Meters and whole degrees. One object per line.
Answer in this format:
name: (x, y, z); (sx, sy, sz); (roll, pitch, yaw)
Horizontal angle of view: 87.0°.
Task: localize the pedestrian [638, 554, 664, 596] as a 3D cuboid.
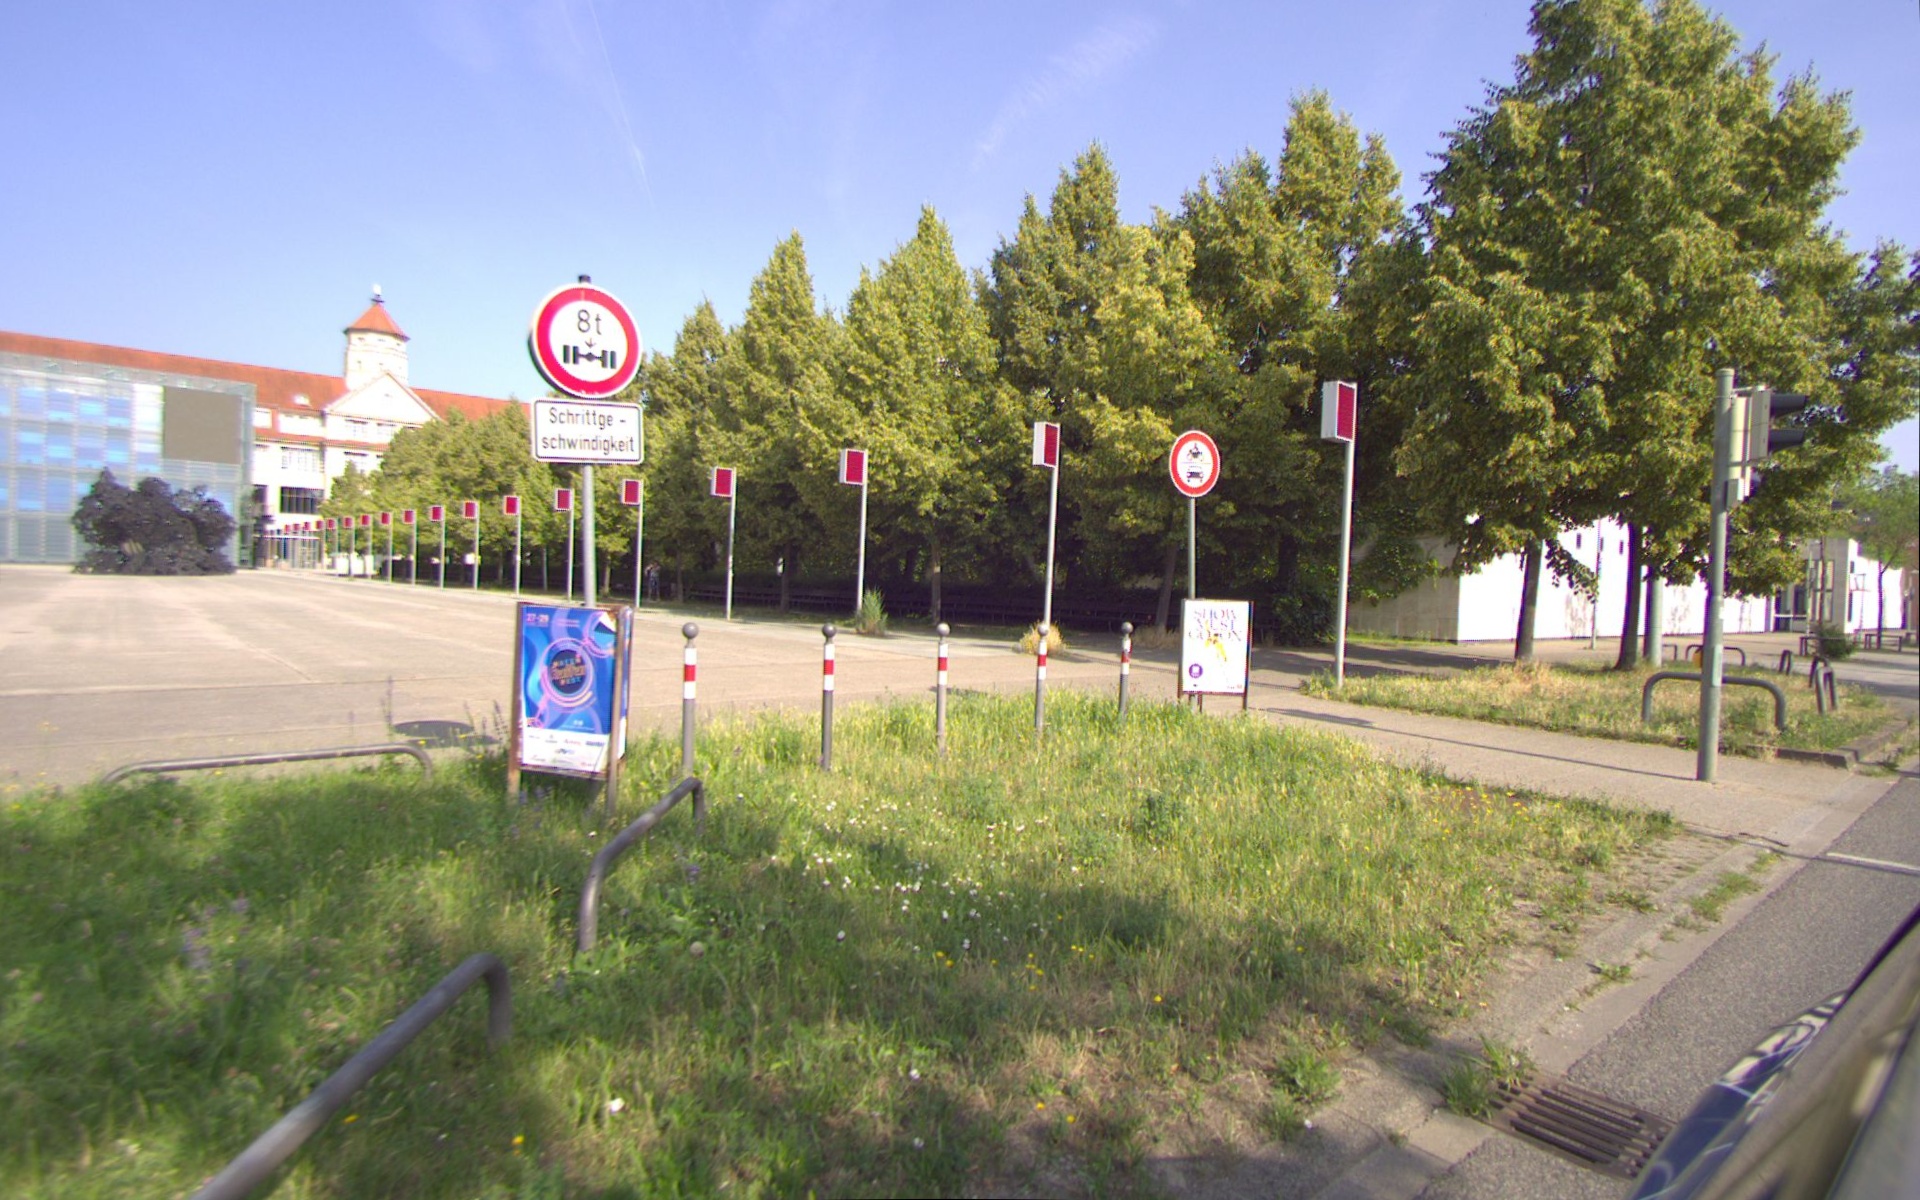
pedestrian: (-13.602, -1.100, 44.583); (0.795, 1.845, 0.734); (2, 1, 19)
